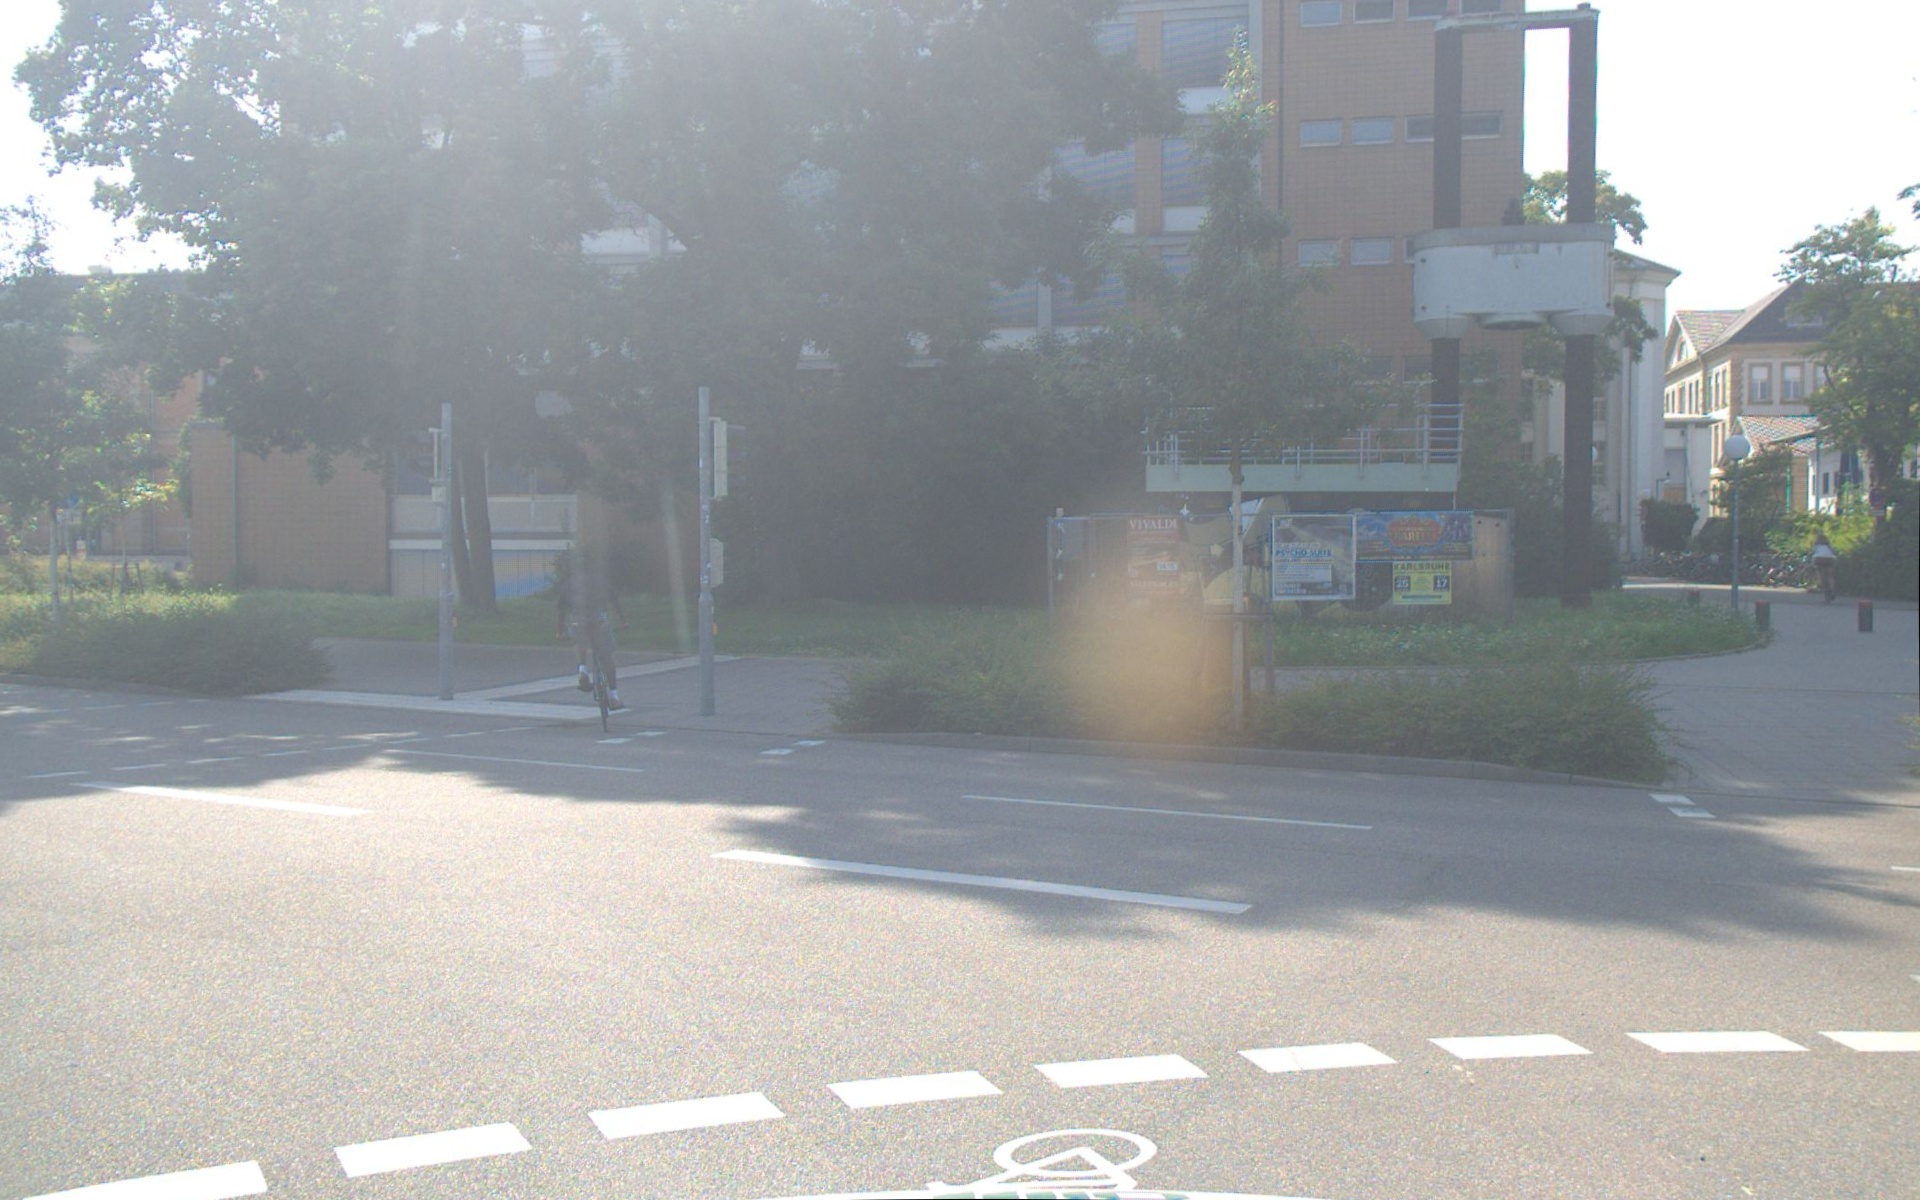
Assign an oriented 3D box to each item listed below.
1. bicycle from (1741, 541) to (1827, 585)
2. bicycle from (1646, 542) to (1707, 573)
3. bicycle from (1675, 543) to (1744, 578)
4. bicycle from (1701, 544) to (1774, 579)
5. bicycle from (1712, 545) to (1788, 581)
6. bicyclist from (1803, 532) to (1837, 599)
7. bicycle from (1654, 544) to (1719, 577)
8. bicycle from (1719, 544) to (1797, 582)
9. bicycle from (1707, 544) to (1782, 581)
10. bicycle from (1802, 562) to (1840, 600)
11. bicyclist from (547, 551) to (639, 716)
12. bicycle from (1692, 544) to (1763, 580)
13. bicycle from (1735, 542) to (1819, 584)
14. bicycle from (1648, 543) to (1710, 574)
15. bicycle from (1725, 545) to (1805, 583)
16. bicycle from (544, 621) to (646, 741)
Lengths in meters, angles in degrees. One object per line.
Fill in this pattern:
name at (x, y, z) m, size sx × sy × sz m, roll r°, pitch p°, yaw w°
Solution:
bicycle at (27.032, -1.216, 54.294) m, size 2.376 × 1.341 × 0.720 m, roll 2°, pitch 2°, yaw 17°
bicycle at (31.677, -1.875, 73.132) m, size 2.376 × 1.302 × 0.720 m, roll 2°, pitch 2°, yaw 17°
bicycle at (29.660, -1.573, 65.502) m, size 2.376 × 1.304 × 0.720 m, roll 2°, pitch 2°, yaw 17°
bicycle at (29.479, -1.455, 62.749) m, size 2.376 × 1.250 × 0.720 m, roll 2°, pitch 2°, yaw 17°
bicycle at (29.033, -1.372, 60.811) m, size 2.376 × 1.255 × 0.720 m, roll 2°, pitch 2°, yaw 17°
bicyclist at (21.218, -0.867, 40.813) m, size 0.636 × 1.629 × 0.920 m, roll 0°, pitch 2°, yaw 21°
bicycle at (30.628, -1.689, 69.738) m, size 2.376 × 1.304 × 0.720 m, roll 2°, pitch 2°, yaw 17°
bicycle at (28.472, -1.322, 59.037) m, size 2.376 × 1.244 × 0.720 m, roll 2°, pitch 2°, yaw 17°
bicycle at (29.258, -1.405, 61.717) m, size 2.376 × 1.261 × 0.720 m, roll 2°, pitch 2°, yaw 17°
bicycle at (21.198, -0.464, 40.723) m, size 0.659 × 0.895 × 1.401 m, roll 0°, pitch 2°, yaw 21°
bicyclist at (-3.809, 0.320, 17.113) m, size 0.760 × 1.605 × 0.985 m, roll -3°, pitch 4°, yaw -20°
bicycle at (29.825, -1.482, 64.295) m, size 2.376 × 1.304 × 0.720 m, roll 2°, pitch 2°, yaw 17°
bicycle at (27.351, -1.245, 55.385) m, size 2.376 × 1.341 × 0.720 m, roll 2°, pitch 2°, yaw 17°
bicycle at (31.401, -1.809, 72.264) m, size 2.376 × 1.284 × 0.720 m, roll 2°, pitch 2°, yaw 17°
bicycle at (28.117, -1.262, 57.812) m, size 2.376 × 1.244 × 0.720 m, roll 2°, pitch 2°, yaw 17°
bicycle at (-3.848, 0.809, 17.309) m, size 0.760 × 0.992 × 2.138 m, roll -3°, pitch 4°, yaw -19°
